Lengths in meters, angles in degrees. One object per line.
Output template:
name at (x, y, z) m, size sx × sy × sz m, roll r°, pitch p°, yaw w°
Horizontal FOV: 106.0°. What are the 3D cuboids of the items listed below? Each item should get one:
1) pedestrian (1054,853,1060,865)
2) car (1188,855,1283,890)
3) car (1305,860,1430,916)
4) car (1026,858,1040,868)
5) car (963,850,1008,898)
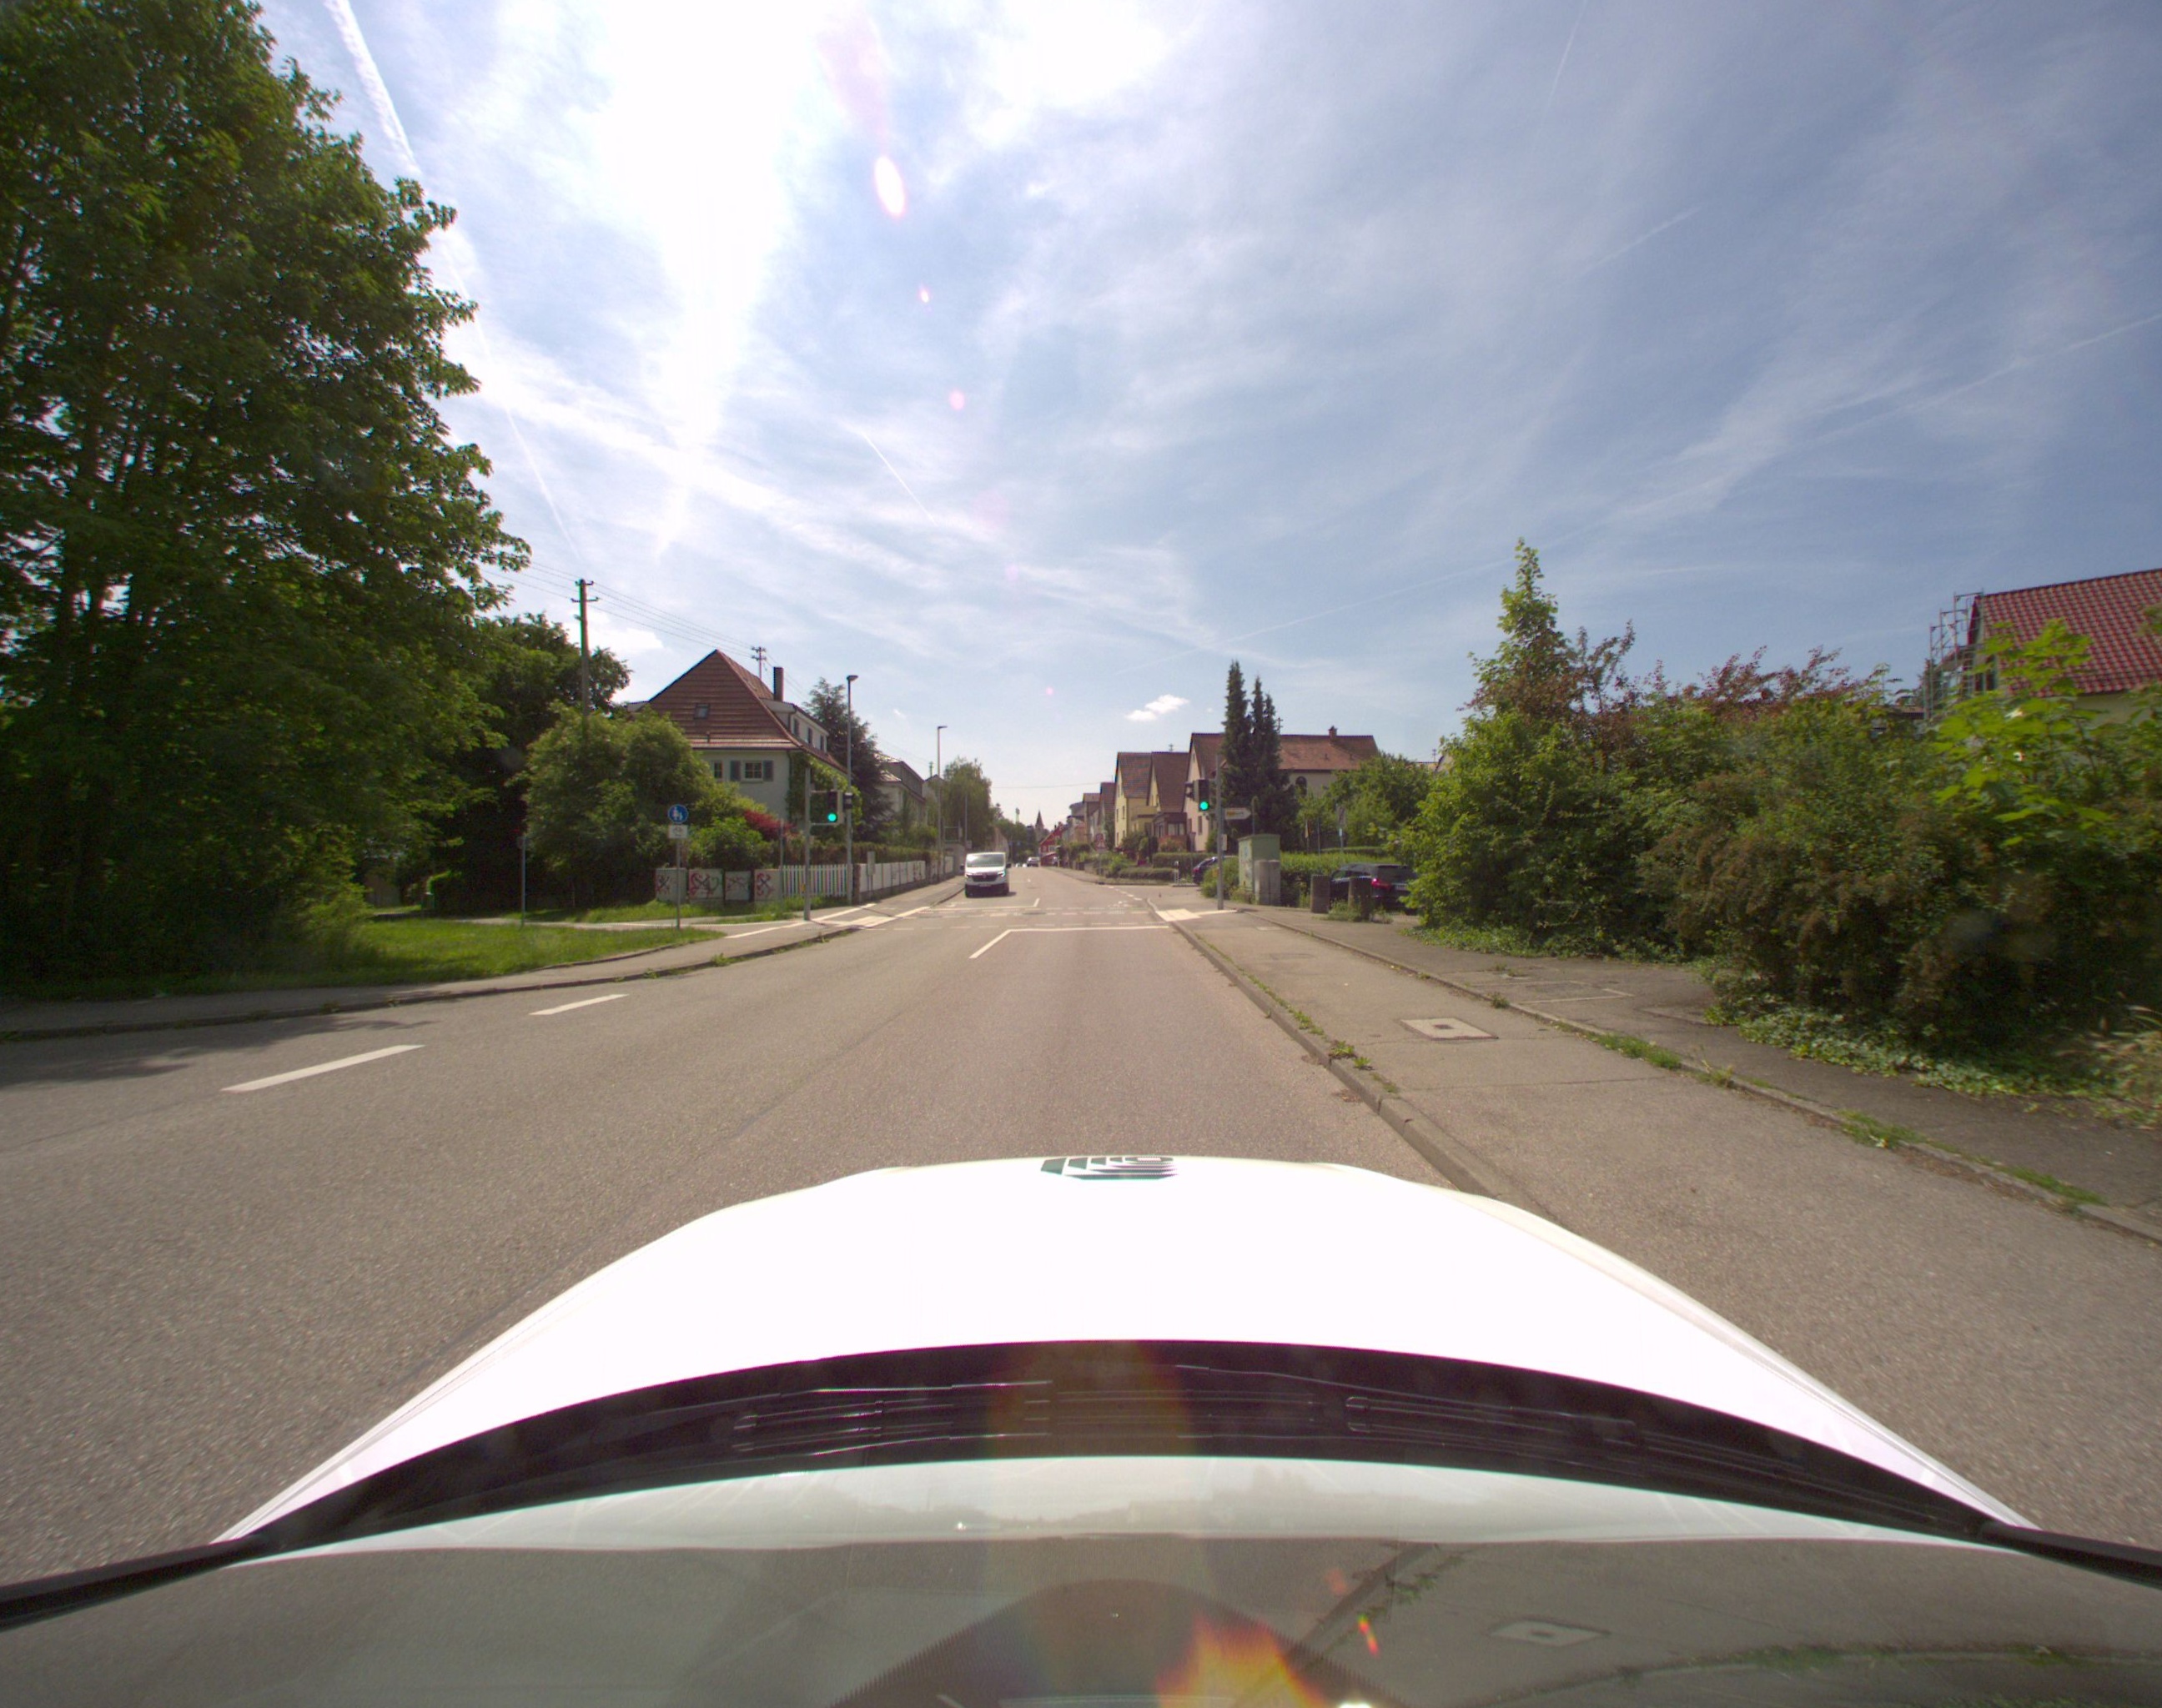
pedestrian at (-3.457, 0.701, 117.779) m, size 0.645 × 1.729 × 0.607 m, roll -3°, pitch 0°, yaw -5°
car at (7.368, 0.891, 39.094) m, size 4.278 × 1.541 × 1.539 m, roll -1°, pitch 1°, yaw -2°
car at (8.586, 1.028, 24.799) m, size 1.711 × 1.552 × 4.047 m, roll 1°, pitch -2°, yaw -12°
car at (-8.116, 1.507, 136.214) m, size 1.992 × 1.560 × 4.302 m, roll -1°, pitch 0°, yaw -8°
car at (-4.333, 0.878, 37.534) m, size 1.876 × 1.965 × 4.893 m, roll -2°, pitch 0°, yaw -5°
